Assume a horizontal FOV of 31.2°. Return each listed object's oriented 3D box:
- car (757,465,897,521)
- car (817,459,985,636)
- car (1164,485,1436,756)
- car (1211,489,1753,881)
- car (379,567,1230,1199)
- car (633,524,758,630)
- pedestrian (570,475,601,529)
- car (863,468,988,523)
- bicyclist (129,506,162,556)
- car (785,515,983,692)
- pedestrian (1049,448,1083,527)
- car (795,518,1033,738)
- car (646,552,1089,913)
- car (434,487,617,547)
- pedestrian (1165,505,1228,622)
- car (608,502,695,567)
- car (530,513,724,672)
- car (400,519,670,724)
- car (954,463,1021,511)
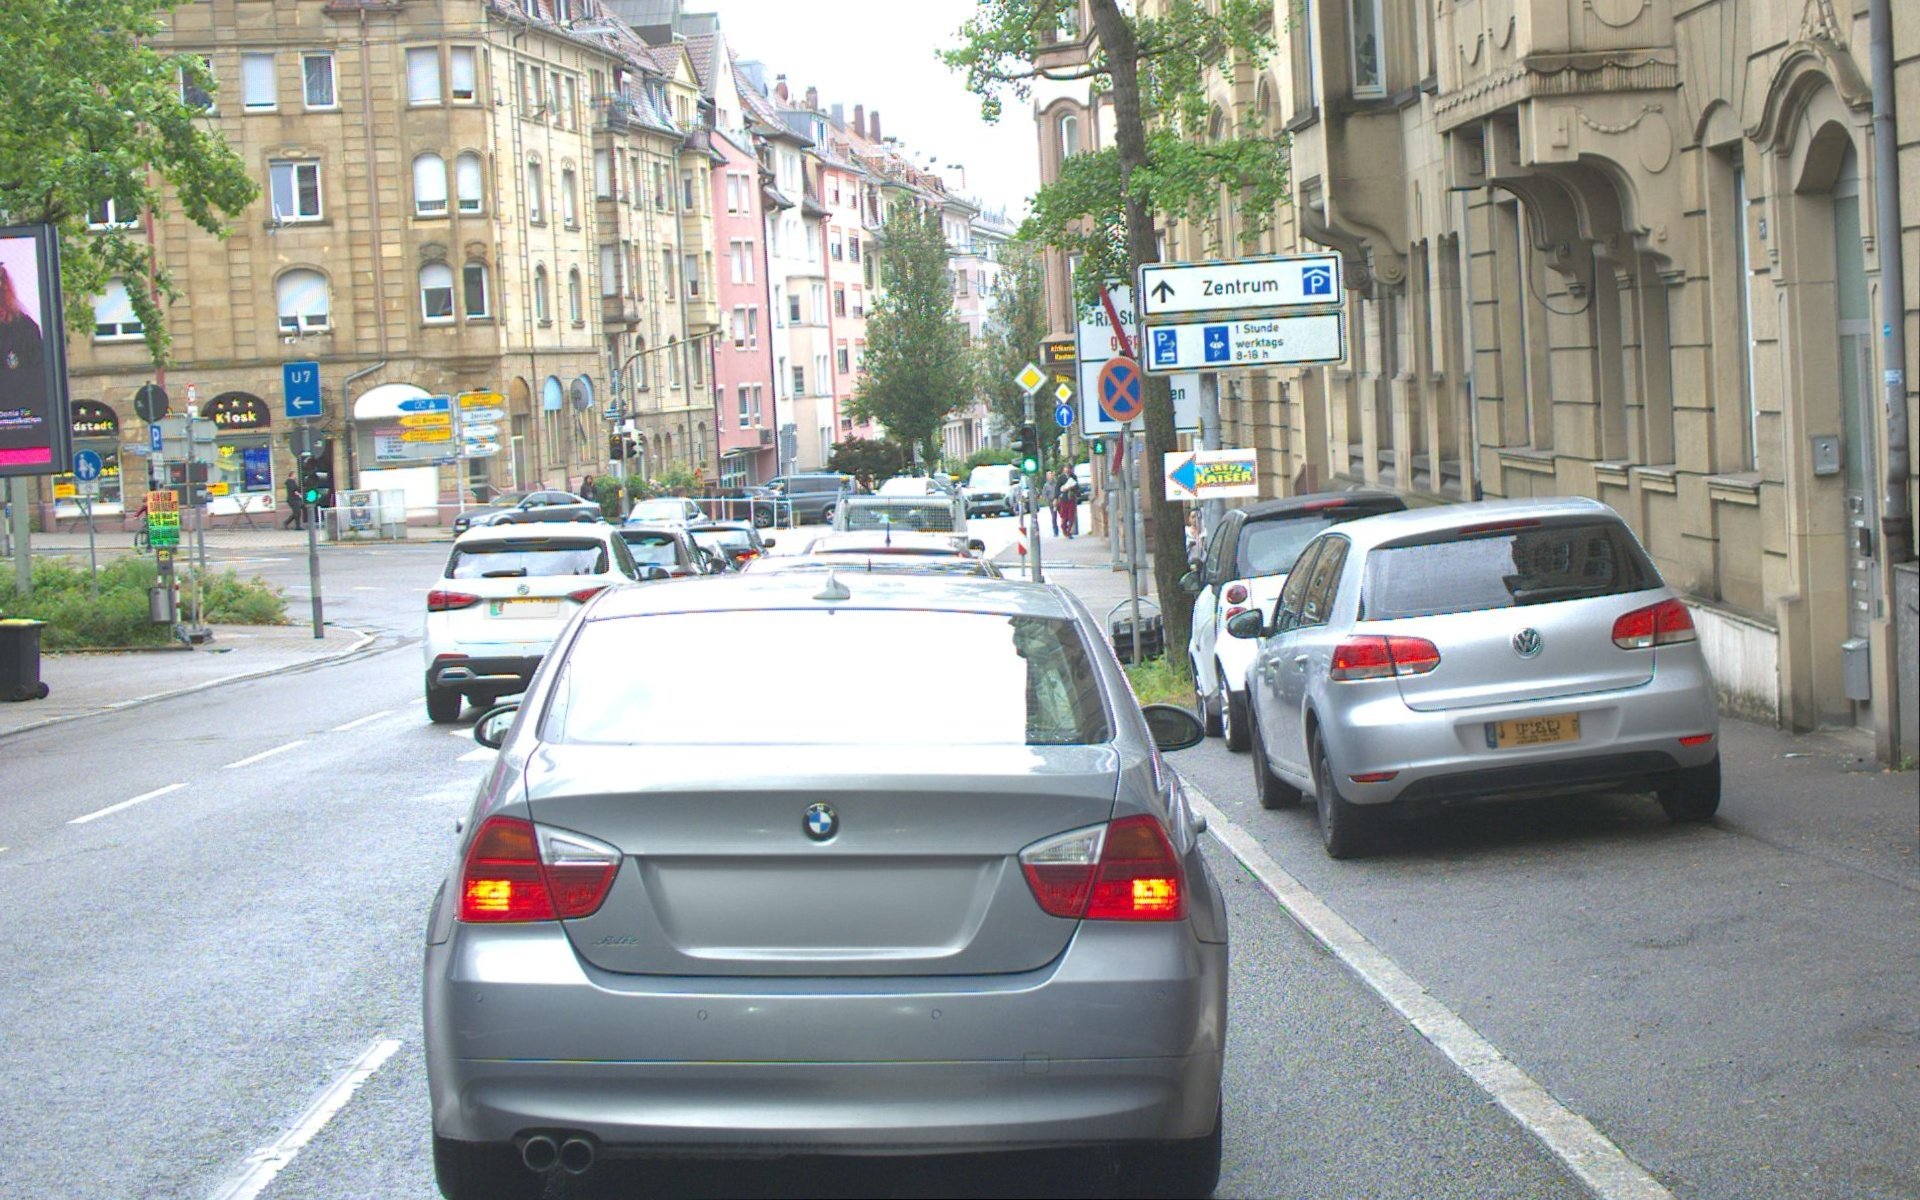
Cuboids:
[{"bbox_3d":[-4.992,-4.038,129.881,5.176,2.007,2.699,1,0,-1],"label":"car"},{"bbox_3d":[-0.725,-0.658,42.911,1.993,2.099,4.000,0,1,-1],"label":"car"},{"bbox_3d":[2.184,0.095,22.657,1.299,1.537,2.976,-6,1,-1],"label":"car"},{"bbox_3d":[2.316,0.305,16.278,1.759,1.446,4.000,-6,1,-1],"label":"car"},{"bbox_3d":[-0.281,0.648,8.430,1.623,1.378,3.615,-1,1,1],"label":"car"},{"bbox_3d":[-4.467,-0.416,58.543,1.759,1.702,4.000,-1,1,1],"label":"car"},{"bbox_3d":[-11.003,-2.886,101.012,0.732,1.572,0.528,-2,1,8],"label":"pedestrian"},{"bbox_3d":[-1.036,-3.196,105.066,1.997,1.573,3.993,1,1,32],"label":"car"},{"bbox_3d":[-20.701,-1.755,87.348,0.569,1.268,0.689,1,0,12],"label":"bicyclist"},{"bbox_3d":[-0.701,-0.014,32.888,1.759,1.562,4.000,-1,1,0],"label":"car"},{"bbox_3d":[2.605,-2.764,84.248,0.742,1.903,0.659,-2,1,-1],"label":"pedestrian"},{"bbox_3d":[-0.295,0.142,25.318,1.595,1.459,4.000,1,1,1],"label":"car"},{"bbox_3d":[-0.352,0.506,15.798,1.759,1.378,4.000,-1,1,1],"label":"car"},{"bbox_3d":[-12.073,-2.291,95.669,4.640,1.573,2.000,0,1,-37],"label":"car"},{"bbox_3d":[3.155,-0.494,45.960,0.631,1.503,0.693,-6,1,-1],"label":"pedestrian"},{"bbox_3d":[-7.182,-1.539,80.364,1.715,1.445,3.743,-2,1,-1],"label":"car"},{"bbox_3d":[-3.734,-0.131,39.107,1.759,1.702,4.000,-1,1,1],"label":"car"},{"bbox_3d":[-3.579,0.130,29.619,1.868,1.620,4.000,-1,1,-1],"label":"car"},{"bbox_3d":[0.989,-3.945,120.406,1.994,1.573,3.999,1,1,5],"label":"car"}]
